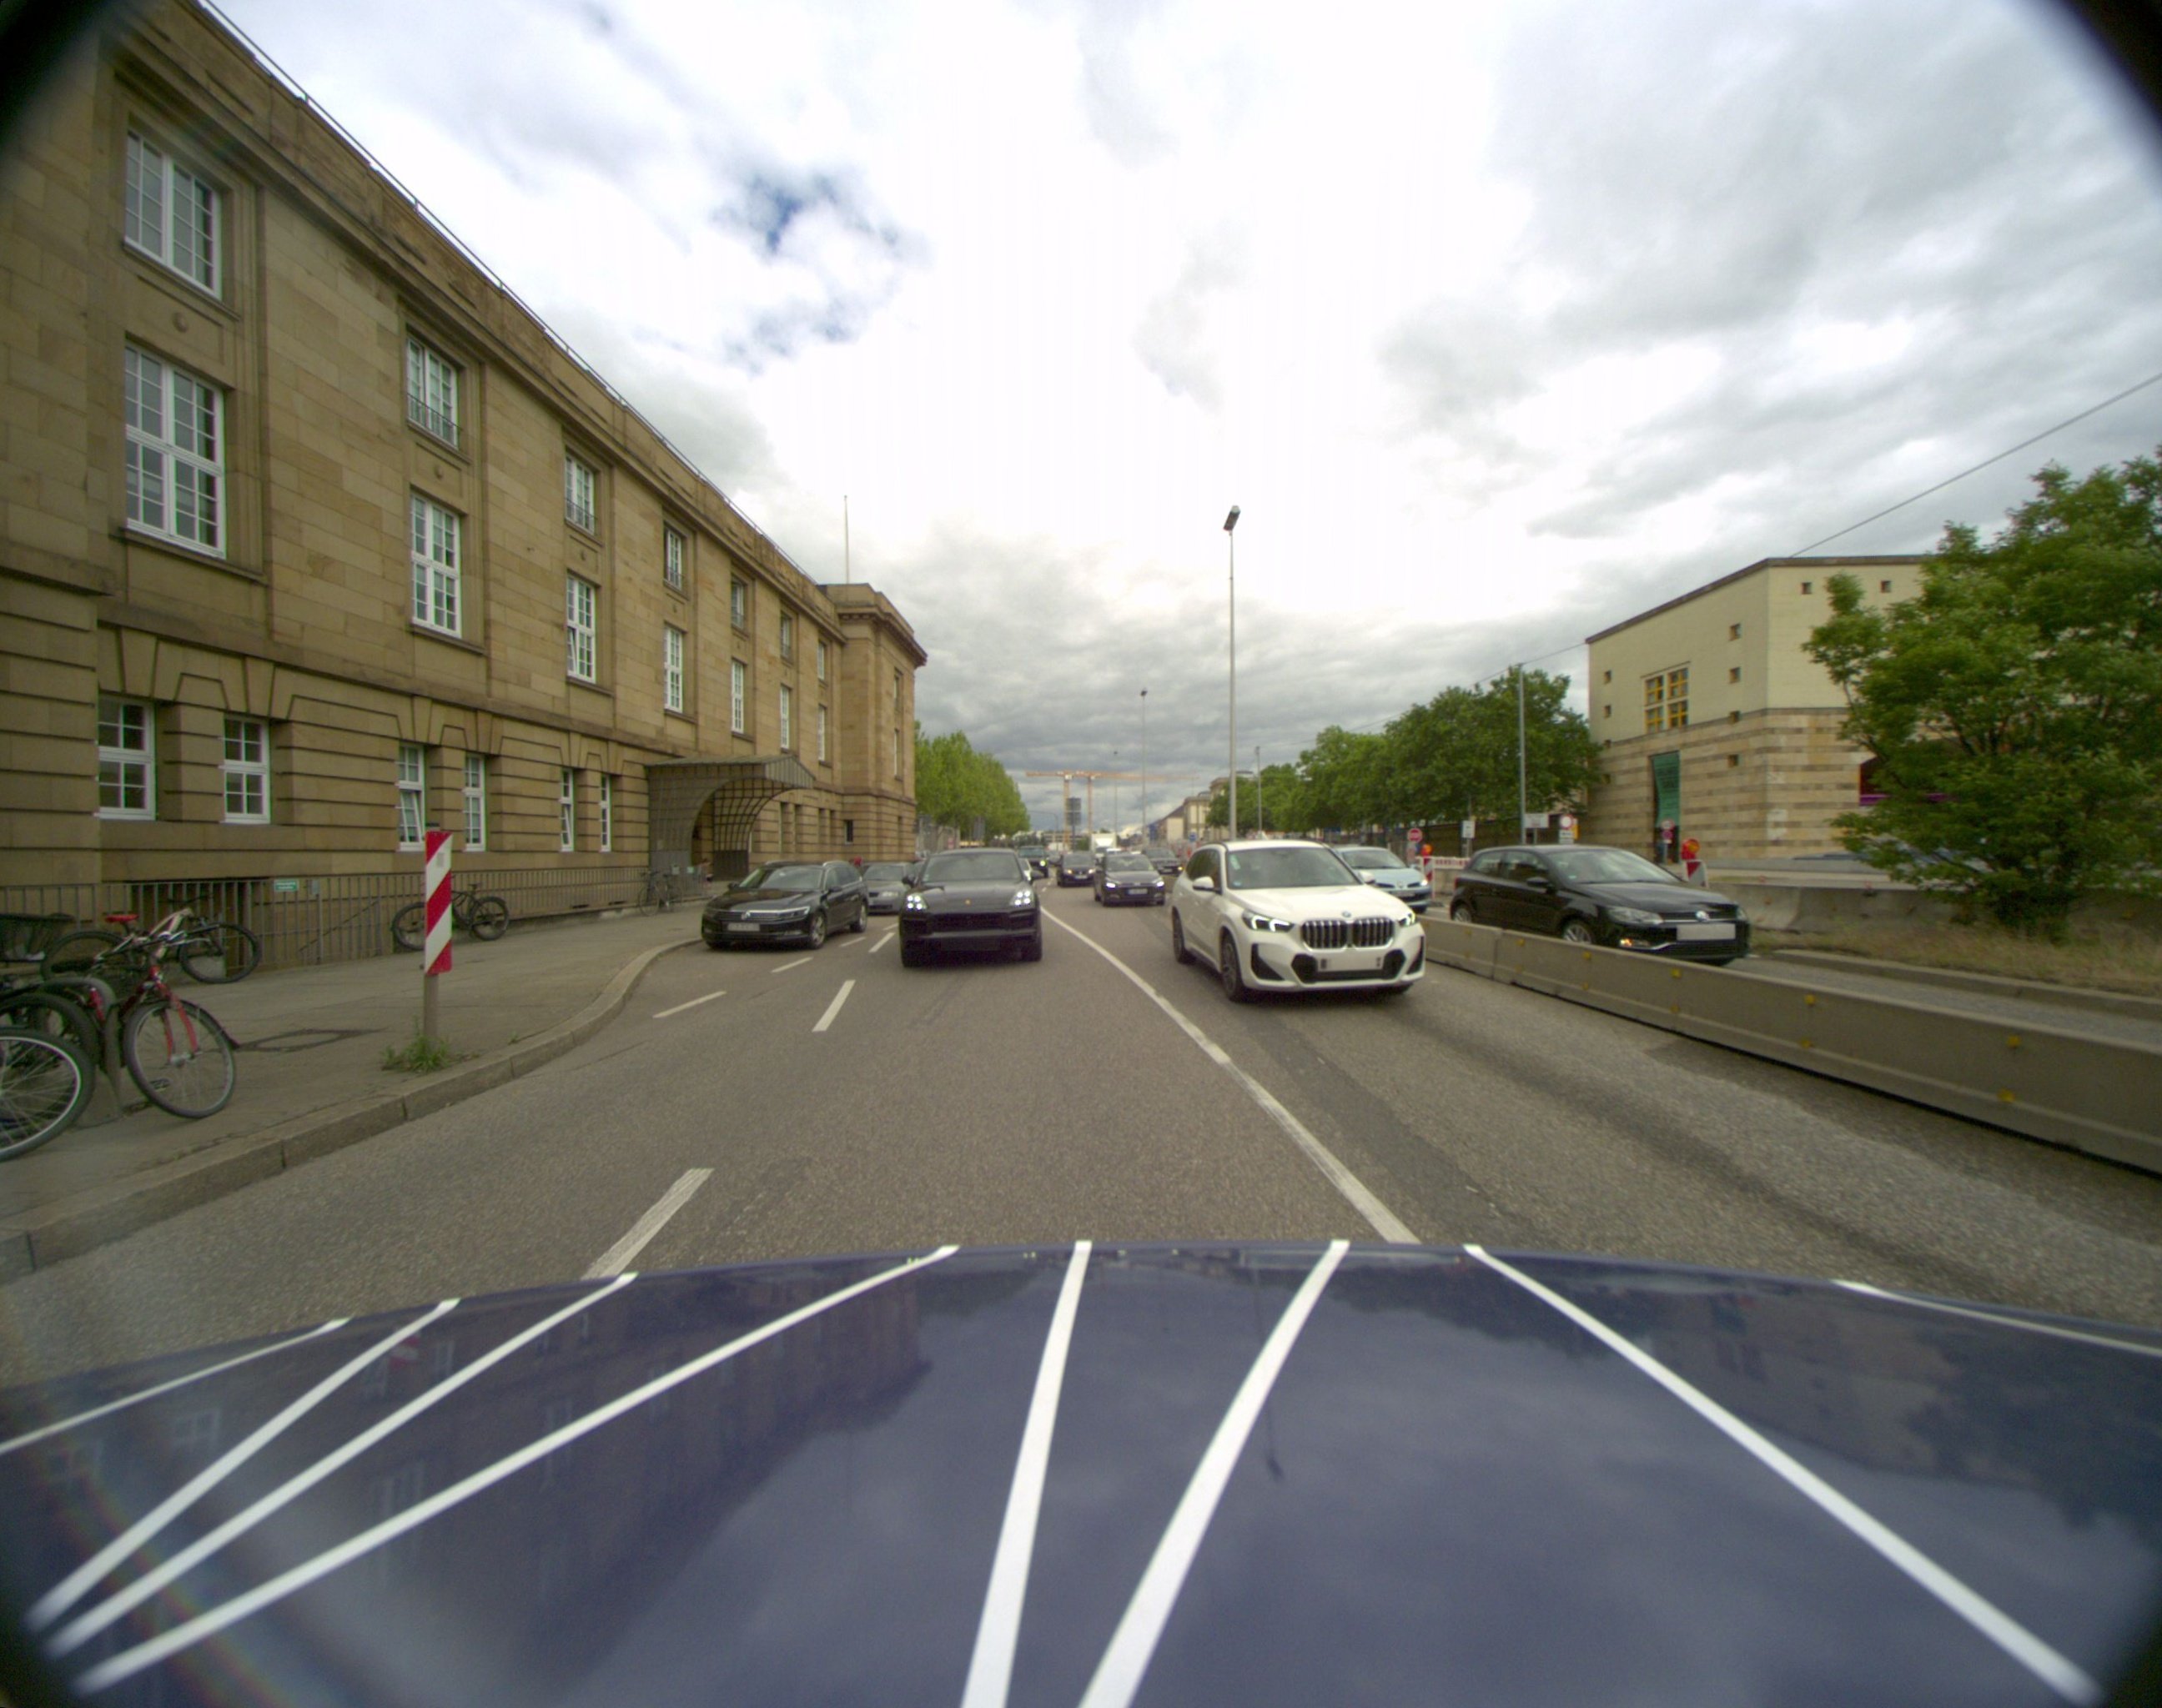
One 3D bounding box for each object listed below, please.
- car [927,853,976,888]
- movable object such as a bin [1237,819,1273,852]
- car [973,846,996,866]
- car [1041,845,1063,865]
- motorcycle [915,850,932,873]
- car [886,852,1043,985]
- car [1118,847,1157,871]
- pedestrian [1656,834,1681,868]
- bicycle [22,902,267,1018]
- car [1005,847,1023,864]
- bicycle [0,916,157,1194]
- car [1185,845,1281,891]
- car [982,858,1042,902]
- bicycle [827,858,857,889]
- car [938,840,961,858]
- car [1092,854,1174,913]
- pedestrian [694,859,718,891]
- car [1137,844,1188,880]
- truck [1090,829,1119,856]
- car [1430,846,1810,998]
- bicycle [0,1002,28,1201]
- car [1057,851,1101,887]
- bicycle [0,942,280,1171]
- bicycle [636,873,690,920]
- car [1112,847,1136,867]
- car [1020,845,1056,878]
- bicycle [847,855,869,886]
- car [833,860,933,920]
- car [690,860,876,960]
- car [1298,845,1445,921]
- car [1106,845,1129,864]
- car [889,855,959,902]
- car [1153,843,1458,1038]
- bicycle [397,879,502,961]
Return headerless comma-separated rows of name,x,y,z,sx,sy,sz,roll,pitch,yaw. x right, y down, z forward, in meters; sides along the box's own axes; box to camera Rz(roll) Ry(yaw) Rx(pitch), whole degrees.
car,-6.023,0.715,35.697,1.549,1.543,3.709,0,1,3
movable object such as a bin,12.092,-1.255,52.886,1.526,2.172,3.291,-1,1,-4
car,-8.759,0.172,69.126,1.810,1.728,4.484,-2,0,-4
car,-2.795,0.118,73.932,1.998,1.849,3.999,-1,1,0
motorcycle,-8.996,0.415,43.393,0.456,1.235,1.923,0,1,4
car,-1.594,0.823,11.866,1.908,1.648,4.199,-1,1,-2
car,3.329,0.287,45.371,1.731,1.289,3.933,-2,1,-4
pedestrian,35.853,-0.175,46.341,0.847,2.002,0.815,-3,2,1
bicycle,-10.313,1.115,8.496,0.241,0.992,1.962,-1,1,1
car,-8.243,0.185,93.863,1.999,2.002,3.999,-1,1,-1
bicycle,-5.695,0.978,3.983,1.544,1.249,0.544,-2,1,20
car,5.365,0.447,27.518,1.884,1.473,4.700,-2,1,-8
car,-2.408,0.857,27.175,1.935,1.368,3.998,-1,1,-3
bicycle,-9.813,0.772,31.281,0.557,1.210,1.915,-1,1,1
car,-12.017,-0.488,69.549,1.584,1.521,3.502,-2,1,-1
car,1.376,0.764,21.794,1.803,1.429,4.018,-2,1,-3
pedestrian,-10.724,0.606,21.743,0.430,0.868,0.373,-3,2,2
car,3.916,0.328,37.118,1.781,1.612,4.044,-2,1,-4
truck,2.465,-1.190,81.691,2.978,2.758,7.254,-1,1,0
car,6.313,0.650,9.614,1.664,1.446,4.196,-2,1,-3
bicycle,-5.968,1.188,3.629,1.730,0.912,0.614,-1,1,20
car,-0.131,0.641,34.212,1.613,1.465,3.620,-1,1,-6
bicycle,-5.545,1.093,4.416,1.664,1.068,0.586,-1,1,21
bicycle,-10.211,1.018,18.634,0.222,1.023,1.859,-2,1,1
car,3.425,0.210,60.892,1.634,1.546,3.001,-2,1,-1
car,-2.609,0.401,47.071,1.952,1.914,4.398,-1,1,-1
bicycle,-9.710,0.699,33.123,0.413,1.281,1.790,-1,1,1
car,-5.371,0.934,21.090,1.713,1.418,3.996,0,1,0
car,-5.238,0.892,14.061,1.793,1.477,4.324,-1,1,-1
car,6.470,0.560,17.397,1.677,1.498,3.852,-2,1,-3
car,3.498,0.057,73.297,1.842,1.751,4.479,-1,1,-1
car,-5.416,0.799,26.614,1.620,1.447,3.858,0,1,0
car,2.190,0.705,9.007,1.856,1.619,4.904,-2,1,-4
bicycle,-10.228,1.036,12.366,0.276,1.176,1.538,-2,1,3
